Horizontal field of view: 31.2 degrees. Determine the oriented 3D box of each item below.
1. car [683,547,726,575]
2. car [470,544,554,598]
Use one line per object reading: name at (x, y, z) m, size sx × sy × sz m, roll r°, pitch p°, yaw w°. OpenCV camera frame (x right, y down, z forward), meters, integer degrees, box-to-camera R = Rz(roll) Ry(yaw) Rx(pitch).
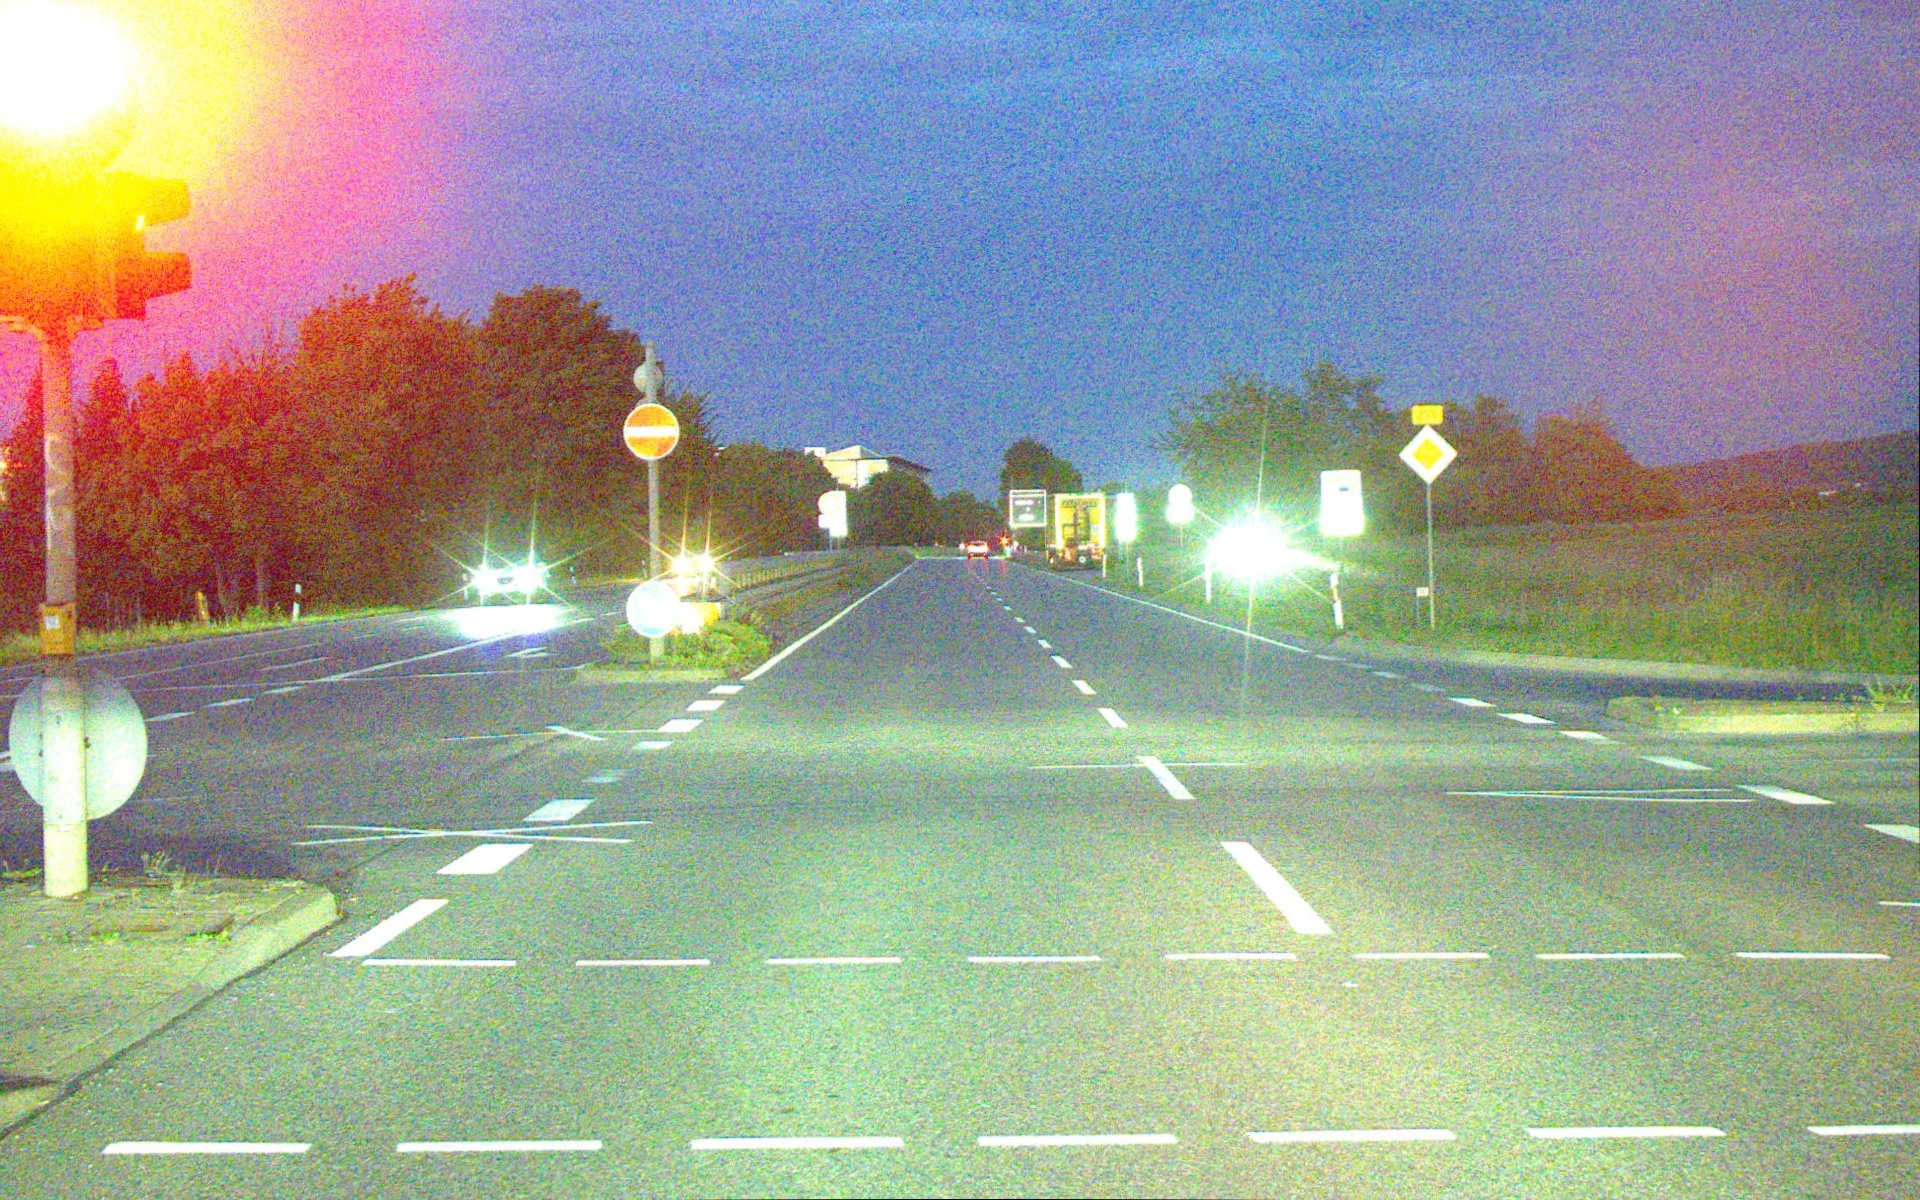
car at (-13.462, -2.060, 181.306) m, size 1.993 × 1.382 × 4.000 m, roll -1°, pitch 1°, yaw -1°
car at (-13.438, -0.891, 103.313) m, size 1.993 × 1.514 × 4.298 m, roll -1°, pitch 1°, yaw -1°
